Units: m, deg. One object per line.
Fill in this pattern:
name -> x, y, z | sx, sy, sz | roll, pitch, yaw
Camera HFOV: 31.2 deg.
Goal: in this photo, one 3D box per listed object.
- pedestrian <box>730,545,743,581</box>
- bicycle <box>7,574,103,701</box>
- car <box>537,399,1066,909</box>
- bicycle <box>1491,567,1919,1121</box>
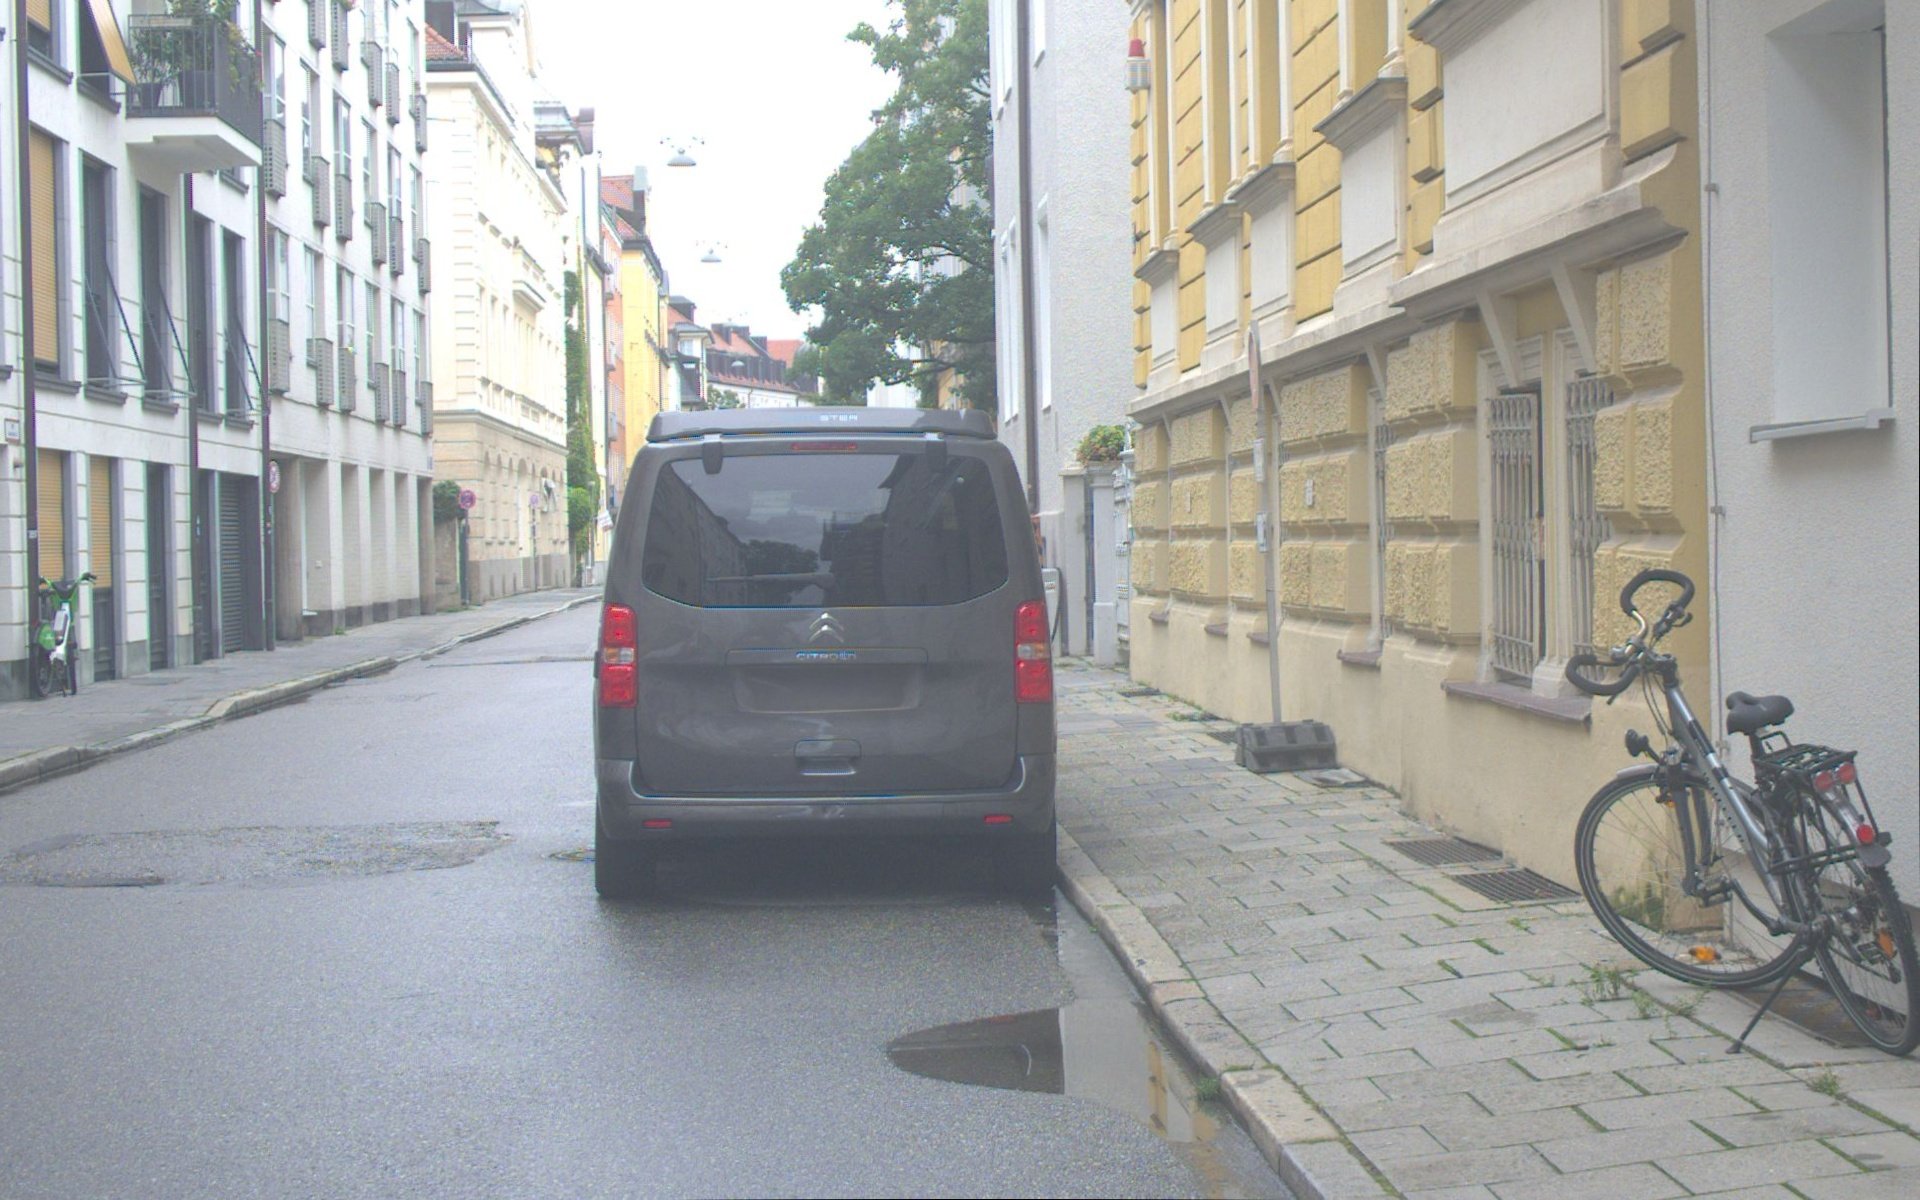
pedestrian -> -10.385, -1.703, 159.494 | 0.539, 1.648, 0.377 | -2, 1, -2
bicycle -> -8.464, 0.334, 32.215 | 0.340, 1.142, 2.191 | -2, 0, -1
car -> -0.741, 0.164, 15.355 | 1.993, 1.925, 4.661 | 0, 1, -4
bicycle -> 1.860, 0.532, 8.582 | 0.638, 1.149, 1.915 | -4, 2, -2
